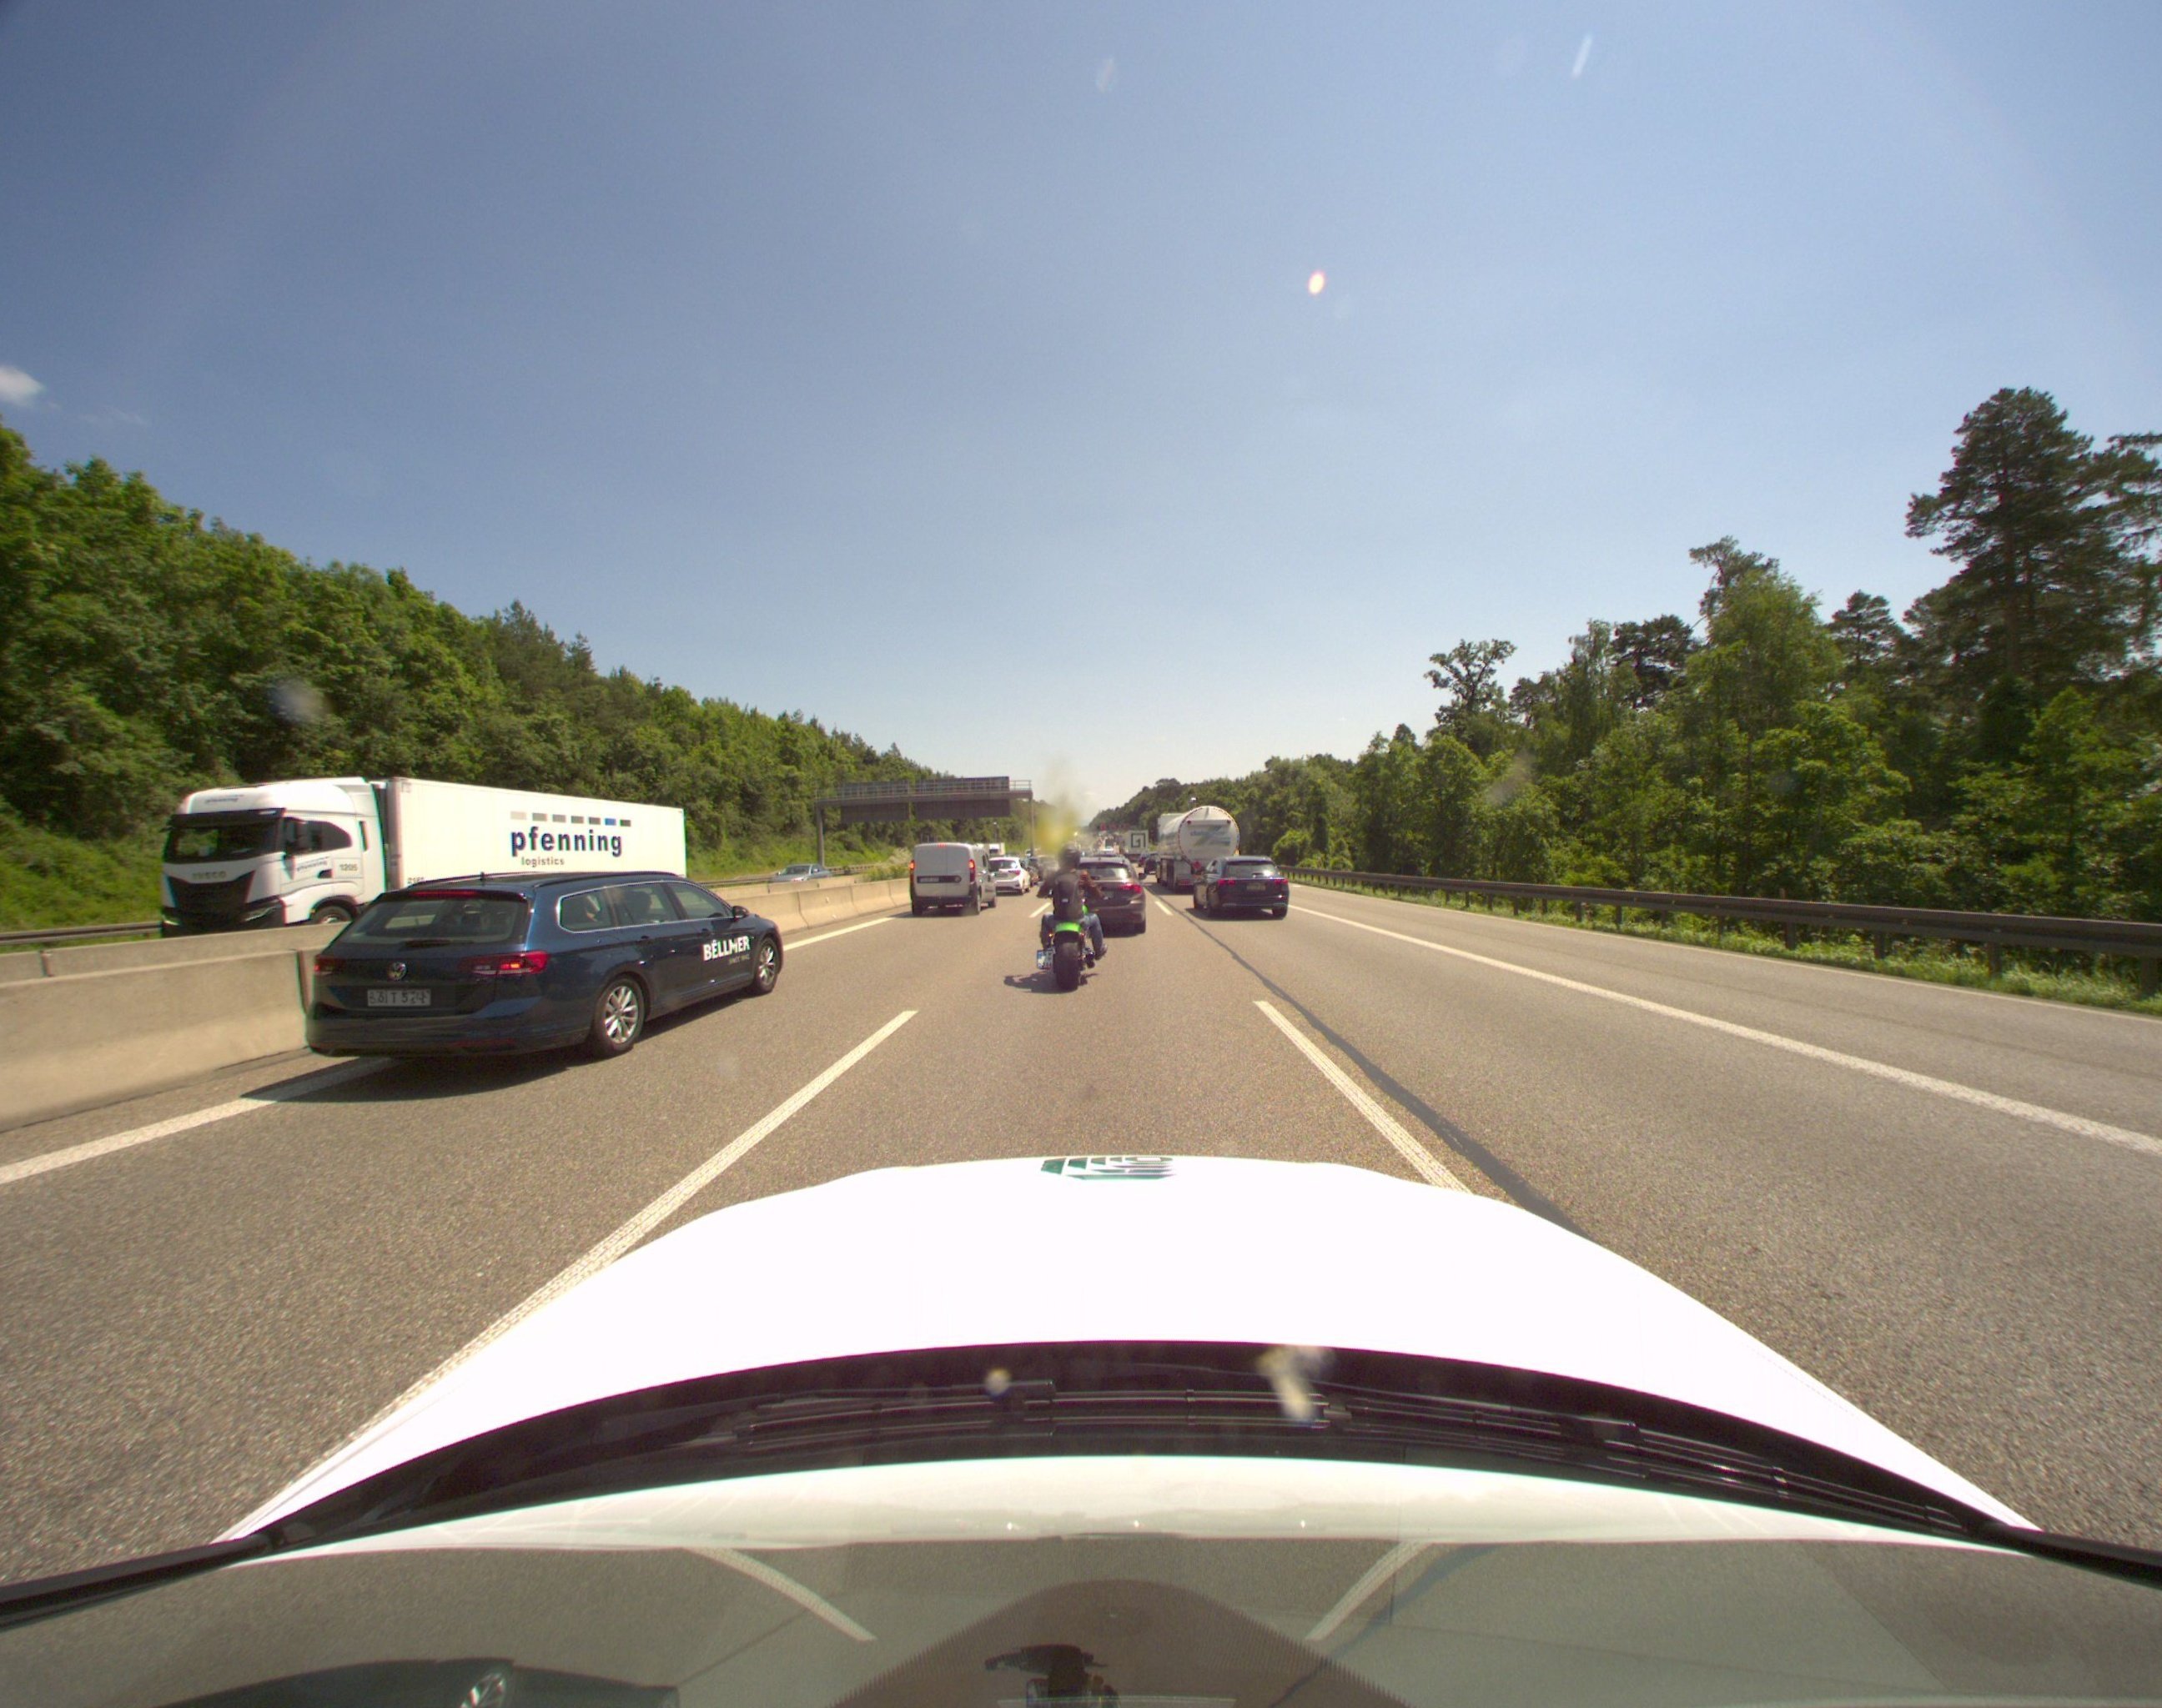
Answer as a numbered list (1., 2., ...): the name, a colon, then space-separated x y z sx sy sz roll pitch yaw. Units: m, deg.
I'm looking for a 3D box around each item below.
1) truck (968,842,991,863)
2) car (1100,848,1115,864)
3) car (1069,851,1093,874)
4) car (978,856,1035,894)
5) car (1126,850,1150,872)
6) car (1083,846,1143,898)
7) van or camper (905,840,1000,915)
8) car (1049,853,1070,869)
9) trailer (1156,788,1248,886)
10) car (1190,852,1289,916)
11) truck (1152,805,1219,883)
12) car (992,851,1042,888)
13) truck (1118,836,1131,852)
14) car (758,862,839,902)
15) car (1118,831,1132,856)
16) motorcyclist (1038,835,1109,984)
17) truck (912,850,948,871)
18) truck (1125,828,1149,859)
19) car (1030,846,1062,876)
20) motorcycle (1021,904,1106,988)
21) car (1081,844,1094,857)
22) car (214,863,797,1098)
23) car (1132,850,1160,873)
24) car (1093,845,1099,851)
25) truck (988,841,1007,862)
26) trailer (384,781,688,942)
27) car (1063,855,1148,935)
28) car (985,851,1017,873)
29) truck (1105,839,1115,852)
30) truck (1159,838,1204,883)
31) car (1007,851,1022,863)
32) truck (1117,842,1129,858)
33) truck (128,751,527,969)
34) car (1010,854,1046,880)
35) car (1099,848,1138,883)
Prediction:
1. truck: -14.405 -0.205 116.077 2.170 2.885 6.744 -1 -1 1
2. car: 3.531 0.283 108.495 1.986 2.013 4.002 -1 0 2
3. car: 0.016 0.756 73.589 1.986 2.014 4.001 -1 -1 2
4. car: -2.956 0.837 32.986 1.769 1.411 4.002 -1 -1 2
5. car: 5.370 0.707 77.343 1.987 2.014 4.000 0 -1 0
6. car: 1.129 0.637 29.446 1.986 1.711 4.000 -1 -1 1
7. van or camper: -3.455 0.584 22.773 1.846 1.880 4.562 0 0 1
8. car: -2.037 0.664 78.109 1.757 1.442 4.002 -1 -1 2
9. trailer: 5.007 -0.545 35.900 2.817 3.671 10.736 -1 -1 2
10. car: 3.918 0.726 20.867 1.785 1.458 4.626 -1 -1 2
11. truck: 5.208 -0.428 41.591 2.817 3.671 6.432 -1 -1 2
12. car: -3.085 0.761 40.042 1.986 1.684 4.332 -1 -1 2
13. truck: 9.646 -2.169 183.180 2.686 3.405 10.483 -2 0 2
14. car: -13.239 1.292 38.470 1.985 1.763 4.456 -1 -1 4
15. car: 7.368 -1.630 136.873 2.159 3.893 9.333 -1 -1 2
16. motorcyclist: -0.068 0.641 9.787 0.796 1.688 1.017 -1 -1 2
17. truck: -15.421 0.707 83.688 2.343 2.014 6.492 -1 -1 1
18. truck: 7.261 -1.294 104.606 2.840 3.821 7.196 -1 -1 5
19. car: -2.457 0.525 58.300 1.986 2.014 4.001 -1 -1 1
20. motorcycle: -0.159 1.091 10.178 0.932 0.793 2.300 -1 0 2
21. car: 1.059 -0.603 131.632 1.986 2.014 4.002 -2 0 2
22. car: -4.435 0.822 7.452 1.867 1.450 4.680 -1 -1 2
23. car: 4.612 0.564 58.326 1.769 1.527 4.002 -1 -1 2
24. car: 4.797 -1.927 257.553 1.763 1.556 4.002 -2 0 2
25. truck: -16.186 -0.454 158.316 2.682 3.990 7.993 -1 -1 2
26. trailer: -17.897 0.298 28.252 2.938 4.481 10.820 -1 -1 2
27. car: 0.522 0.752 16.854 1.535 1.450 4.002 -1 0 2
28. car: -5.763 0.573 58.826 1.818 1.494 4.001 -1 0 1
29. truck: 8.291 -2.307 230.362 2.686 3.405 10.483 -2 0 2
30. truck: 7.088 0.437 58.455 2.380 2.979 8.254 -1 0 1
31. car: -10.417 0.430 128.133 1.777 1.838 4.295 -1 -1 2
32. truck: 5.754 -0.522 111.909 1.584 2.112 3.755 -1 -1 5
33. truck: -18.147 0.189 20.620 2.938 4.482 7.519 -1 -1 1
34. car: -3.089 0.778 48.274 1.988 1.464 3.996 0 -1 -2
35. car: 2.005 0.641 44.168 1.986 1.775 4.000 -1 -1 1
